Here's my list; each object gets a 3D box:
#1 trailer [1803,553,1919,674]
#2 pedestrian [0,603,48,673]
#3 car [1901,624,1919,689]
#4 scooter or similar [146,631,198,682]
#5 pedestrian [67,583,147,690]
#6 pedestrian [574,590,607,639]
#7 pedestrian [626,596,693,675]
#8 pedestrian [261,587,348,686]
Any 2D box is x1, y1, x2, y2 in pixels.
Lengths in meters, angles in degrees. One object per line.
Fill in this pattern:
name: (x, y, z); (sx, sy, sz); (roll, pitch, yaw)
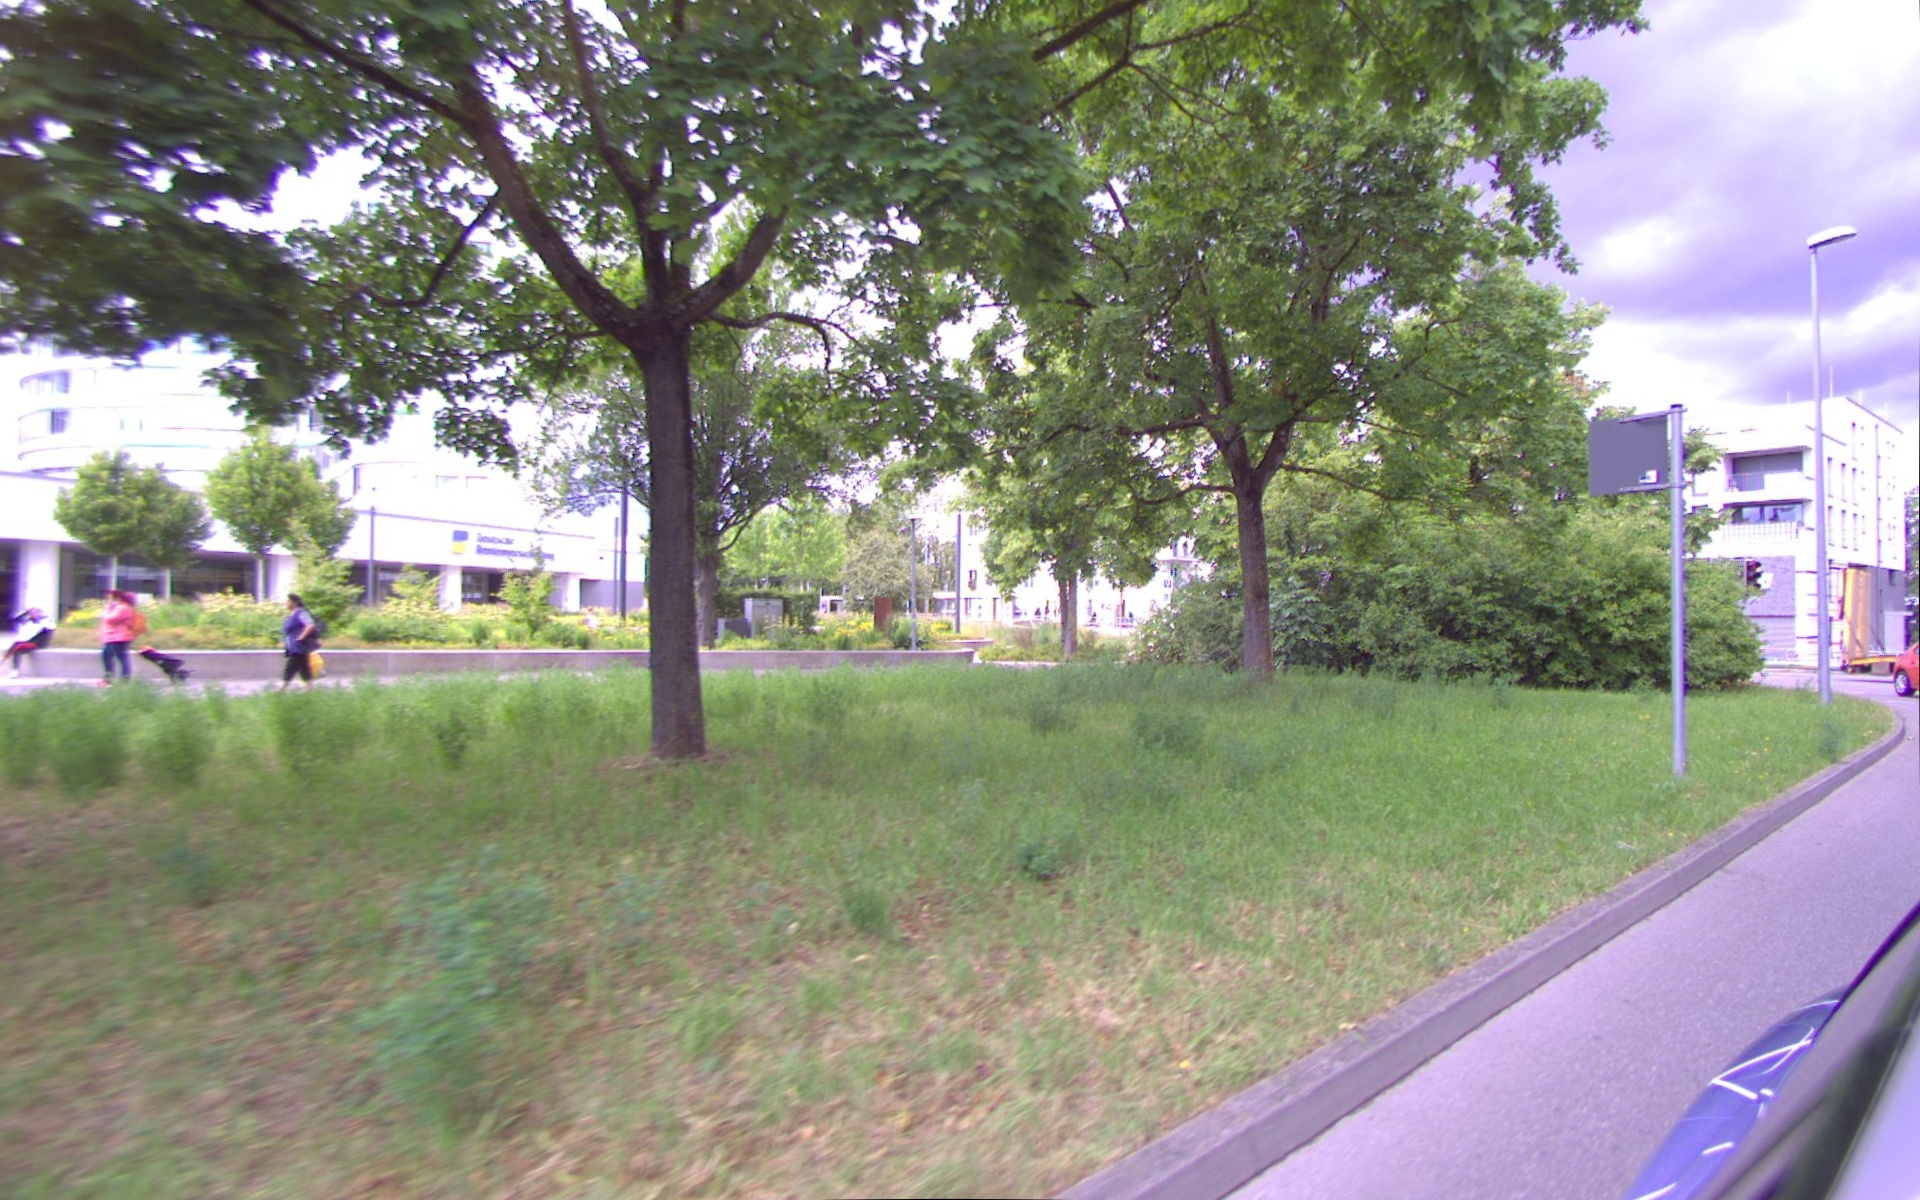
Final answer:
trailer: (30.791, 0.428, 28.197); (2.664, 3.567, 10.910); (2, -1, -36)
pedestrian: (-16.223, 0.642, 17.550); (0.595, 1.175, 0.647); (0, -1, -43)
car: (22.862, 1.329, 22.225); (1.671, 1.498, 3.976); (1, 0, 18)
scooter or similar: (-12.972, 0.917, 16.679); (0.660, 0.792, 0.635); (0, 0, -37)
pedestrian: (-13.518, 0.550, 16.072); (0.914, 1.627, 0.956); (0, -1, -37)
pedestrian: (-15.348, 0.603, 42.081); (0.875, 1.963, 0.891); (1, -1, 30)
pedestrian: (-5.740, 0.673, 19.326); (0.966, 1.471, 0.759); (2, -2, -42)
pedestrian: (-10.109, 0.557, 15.610); (0.966, 1.471, 0.878); (2, -2, -42)
